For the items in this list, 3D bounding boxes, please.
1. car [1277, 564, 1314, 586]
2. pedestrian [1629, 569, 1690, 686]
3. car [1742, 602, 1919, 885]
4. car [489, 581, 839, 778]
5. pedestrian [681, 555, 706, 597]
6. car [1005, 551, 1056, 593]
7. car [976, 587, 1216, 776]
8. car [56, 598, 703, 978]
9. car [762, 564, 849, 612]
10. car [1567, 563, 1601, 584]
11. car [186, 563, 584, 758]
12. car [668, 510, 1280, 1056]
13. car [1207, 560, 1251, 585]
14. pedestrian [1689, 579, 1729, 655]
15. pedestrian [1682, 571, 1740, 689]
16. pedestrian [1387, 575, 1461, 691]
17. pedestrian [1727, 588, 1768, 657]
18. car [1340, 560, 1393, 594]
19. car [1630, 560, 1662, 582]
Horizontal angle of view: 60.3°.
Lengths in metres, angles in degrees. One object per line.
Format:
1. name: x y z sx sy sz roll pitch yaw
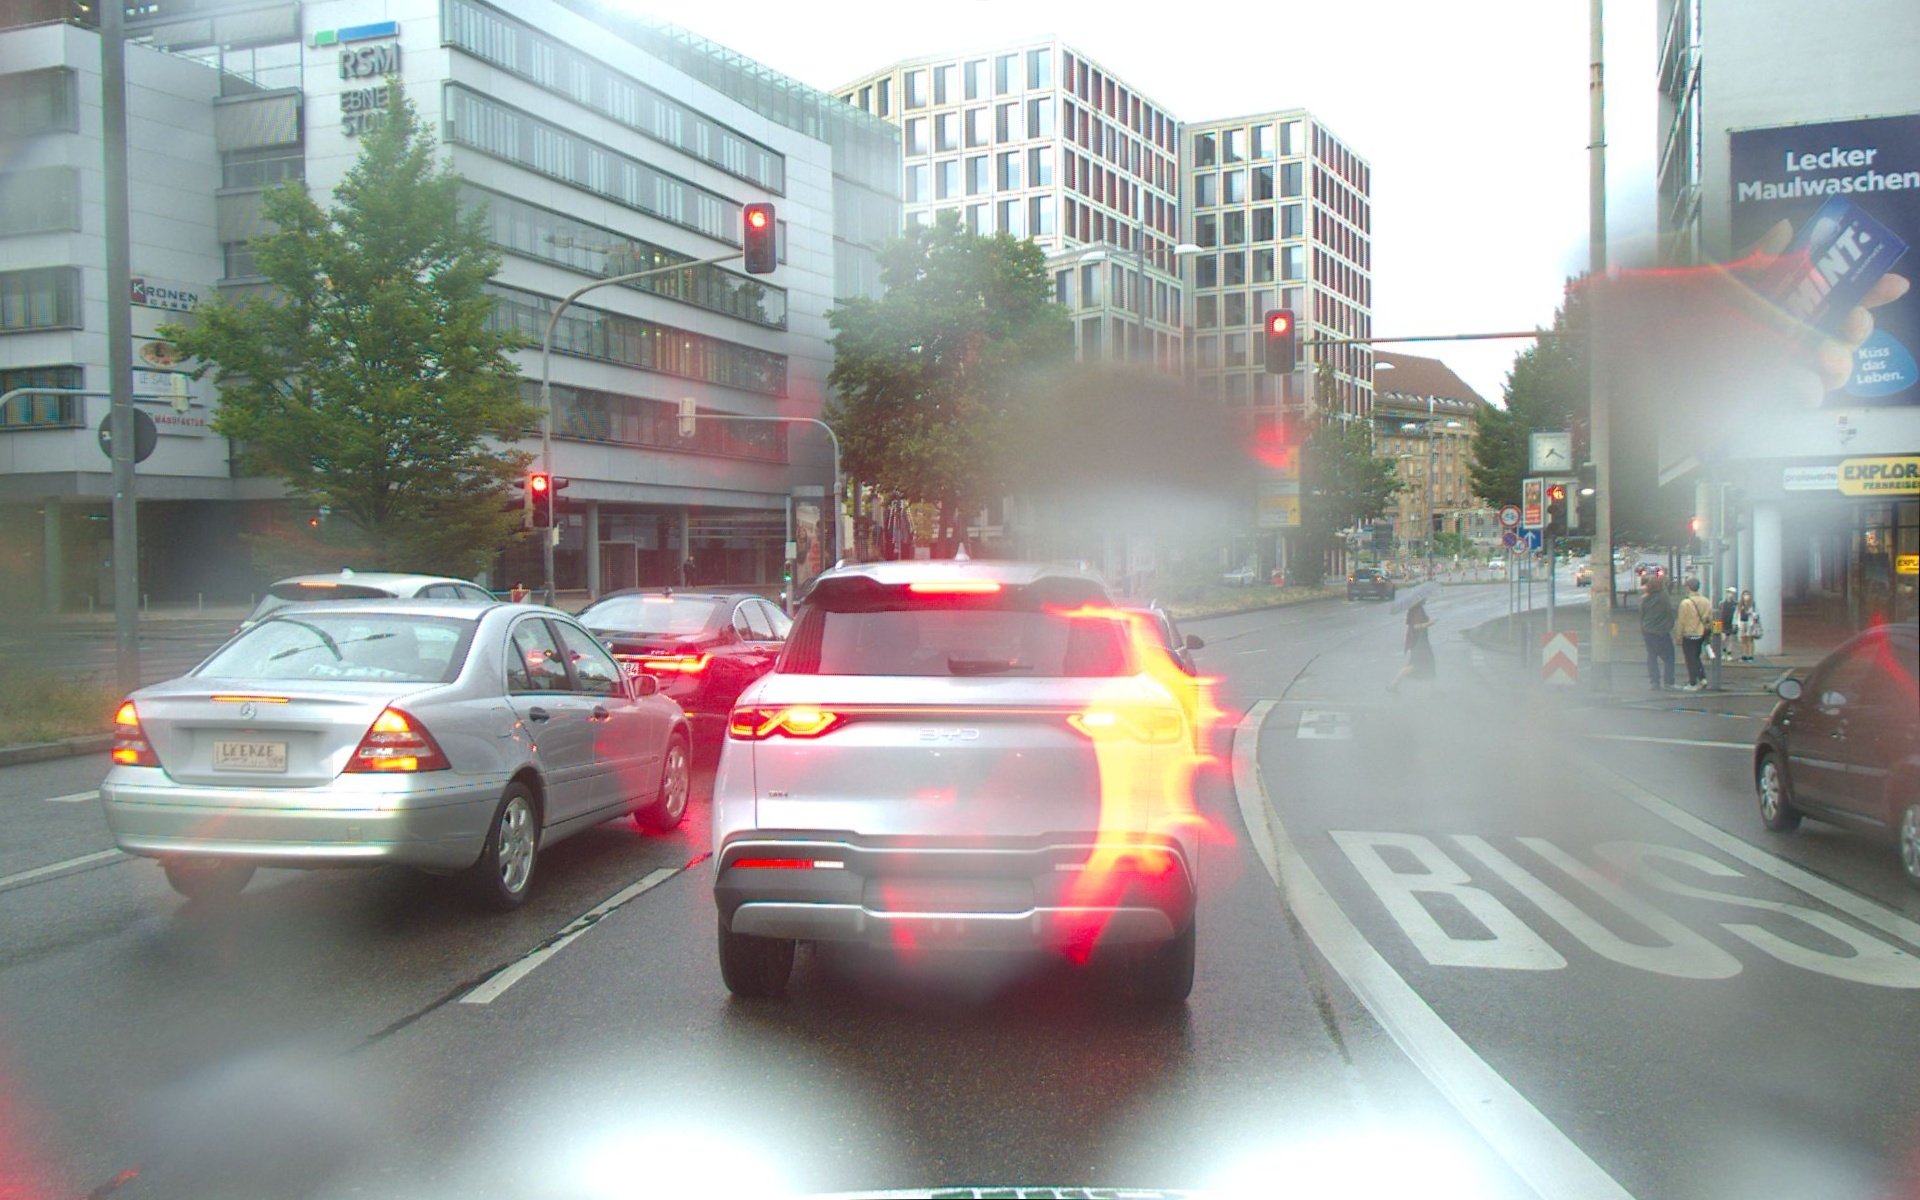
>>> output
1. car: 28.164 -2.073 138.734 1.954 1.735 4.305 1 2 26
2. pedestrian: 11.179 0.431 26.455 0.795 1.830 0.711 0 0 15
3. car: 6.172 0.786 10.020 1.627 1.498 3.486 0 1 8
4. car: -2.553 0.615 15.324 1.913 1.557 4.004 0 0 10
5. pedestrian: -11.364 -1.014 70.580 0.712 1.757 0.925 0 0 21
6. car: 3.879 -1.497 90.481 1.700 2.199 4.496 1 0 17
7. car: 1.436 0.659 15.884 1.913 1.557 4.004 0 0 10
8. car: -2.734 0.765 8.914 1.646 1.512 4.199 0 1 6
9. car: -5.970 -0.510 64.432 1.952 1.735 4.003 1 2 18
10. car: 47.416 -2.009 125.633 1.873 1.536 4.351 2 1 27
11. car: -5.320 0.483 15.917 1.844 1.624 4.004 0 1 11
12. car: 0.100 0.563 7.598 1.952 1.739 4.484 -1 1 1
13. car: 19.519 -2.019 119.831 1.954 1.735 4.305 1 2 26
14. pedestrian: 16.968 0.381 37.482 0.712 1.698 0.691 0 -1 15
15. pedestrian: 11.903 0.465 26.230 0.712 1.830 0.740 0 0 15
16. pedestrian: 7.158 0.497 25.549 0.904 1.768 0.729 0 0 -6
17. pedestrian: 17.708 0.502 37.205 0.712 1.551 0.760 0 -1 15
18. car: 19.606 -1.099 79.657 1.953 1.579 4.000 1 1 21
19. car: 56.602 -2.376 136.409 2.007 1.796 4.351 2 1 27
